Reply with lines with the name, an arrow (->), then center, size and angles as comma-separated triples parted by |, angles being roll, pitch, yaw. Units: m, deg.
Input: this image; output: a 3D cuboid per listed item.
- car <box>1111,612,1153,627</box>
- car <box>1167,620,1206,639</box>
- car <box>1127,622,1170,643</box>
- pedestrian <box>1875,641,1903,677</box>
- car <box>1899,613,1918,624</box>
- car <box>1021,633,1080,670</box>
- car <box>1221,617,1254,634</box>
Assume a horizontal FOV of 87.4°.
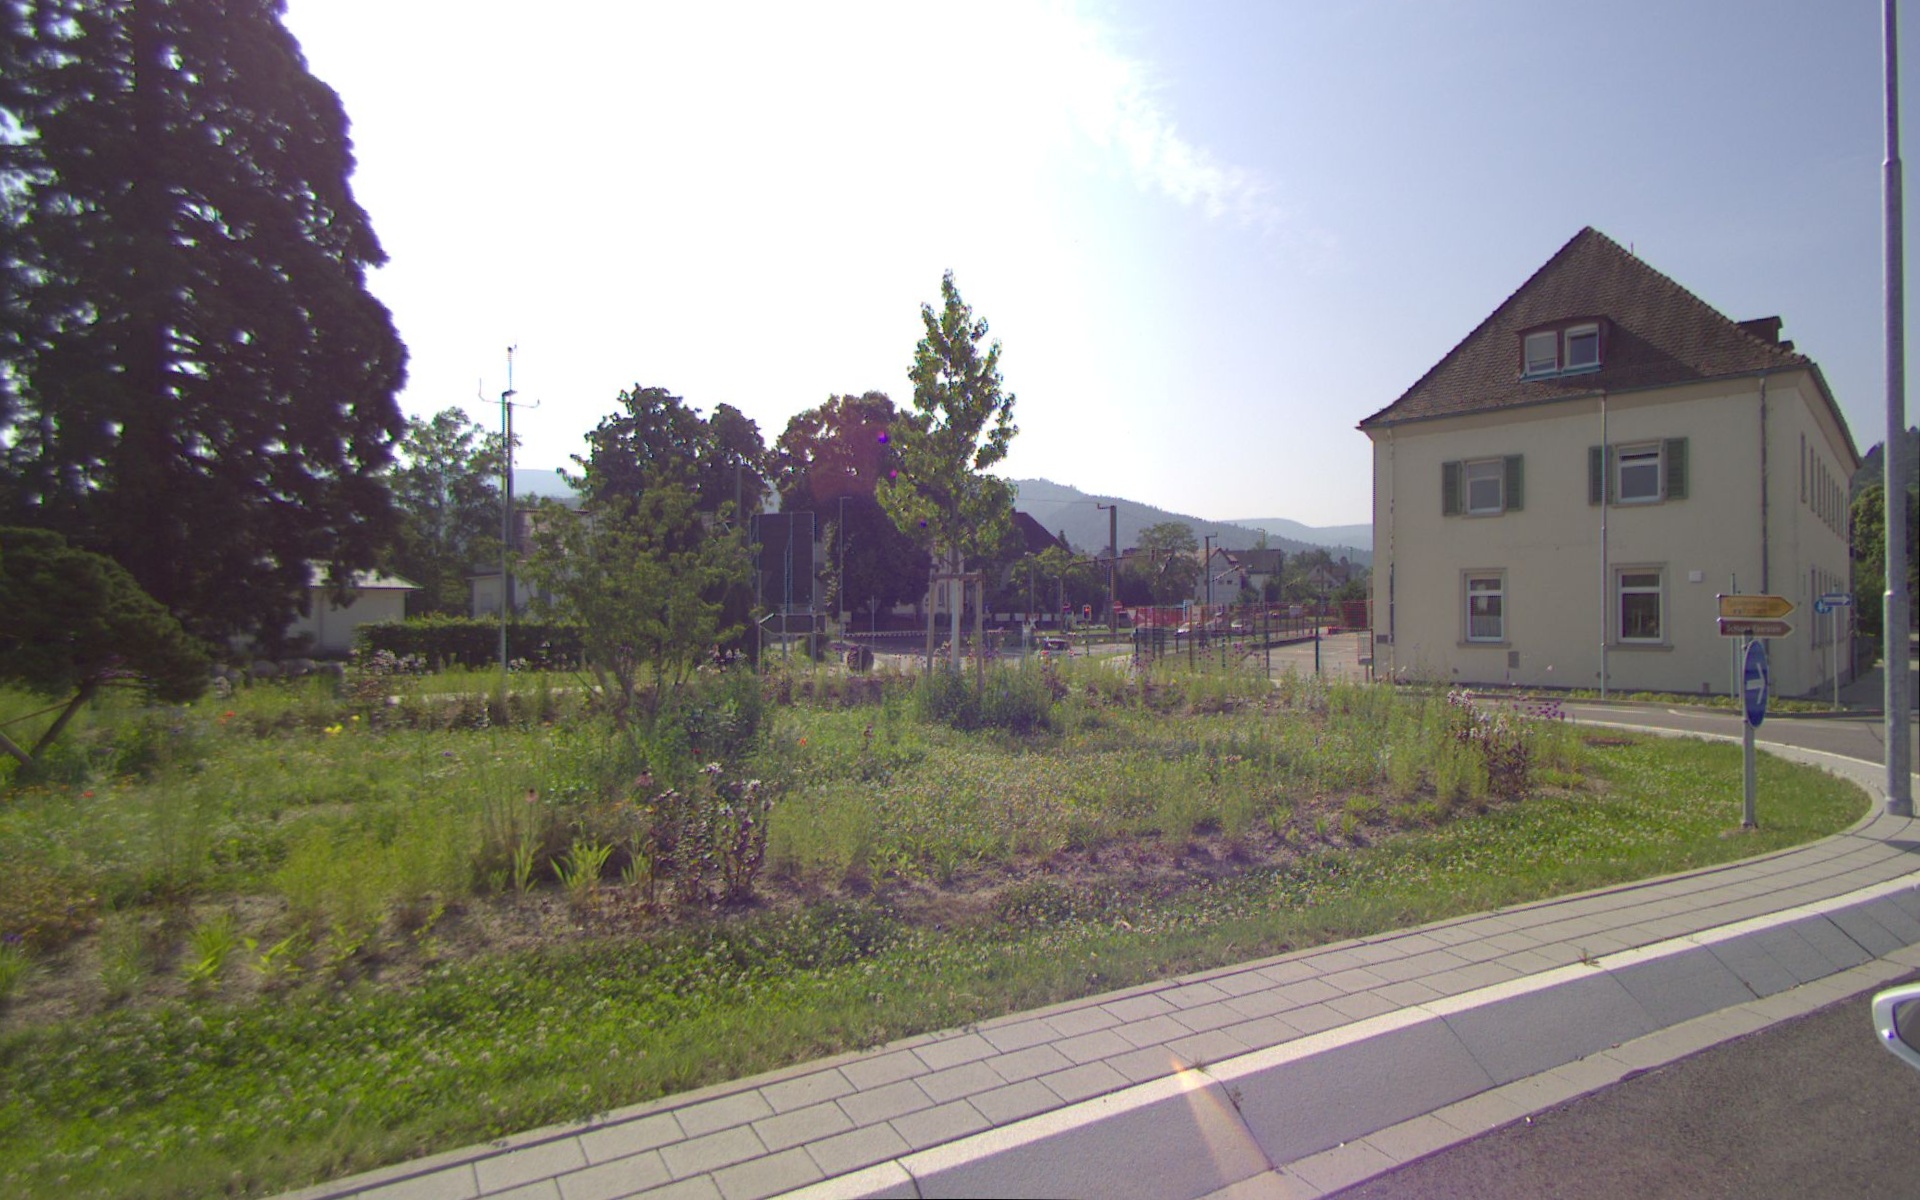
car -> 17.734, 2.022, 103.854 | 3.929, 1.416, 1.711 | 2, 1, 31
car -> 18.697, 2.405, 82.857 | 1.686, 1.416, 3.986 | 2, 1, 35
car -> 14.334, 2.455, 76.167 | 1.686, 1.416, 3.986 | 2, 1, 35
pedestrian -> 43.998, 2.786, 47.581 | 0.948, 1.653, 0.753 | 0, -1, 44
car -> 149.241, 2.910, 158.092 | 1.789, 1.618, 3.909 | 2, 1, 39
car -> 4.155, 2.360, 46.796 | 1.684, 1.416, 3.991 | 1, 1, -11
car -> 25.791, 2.335, 93.187 | 1.686, 1.416, 3.986 | 2, 1, 35
